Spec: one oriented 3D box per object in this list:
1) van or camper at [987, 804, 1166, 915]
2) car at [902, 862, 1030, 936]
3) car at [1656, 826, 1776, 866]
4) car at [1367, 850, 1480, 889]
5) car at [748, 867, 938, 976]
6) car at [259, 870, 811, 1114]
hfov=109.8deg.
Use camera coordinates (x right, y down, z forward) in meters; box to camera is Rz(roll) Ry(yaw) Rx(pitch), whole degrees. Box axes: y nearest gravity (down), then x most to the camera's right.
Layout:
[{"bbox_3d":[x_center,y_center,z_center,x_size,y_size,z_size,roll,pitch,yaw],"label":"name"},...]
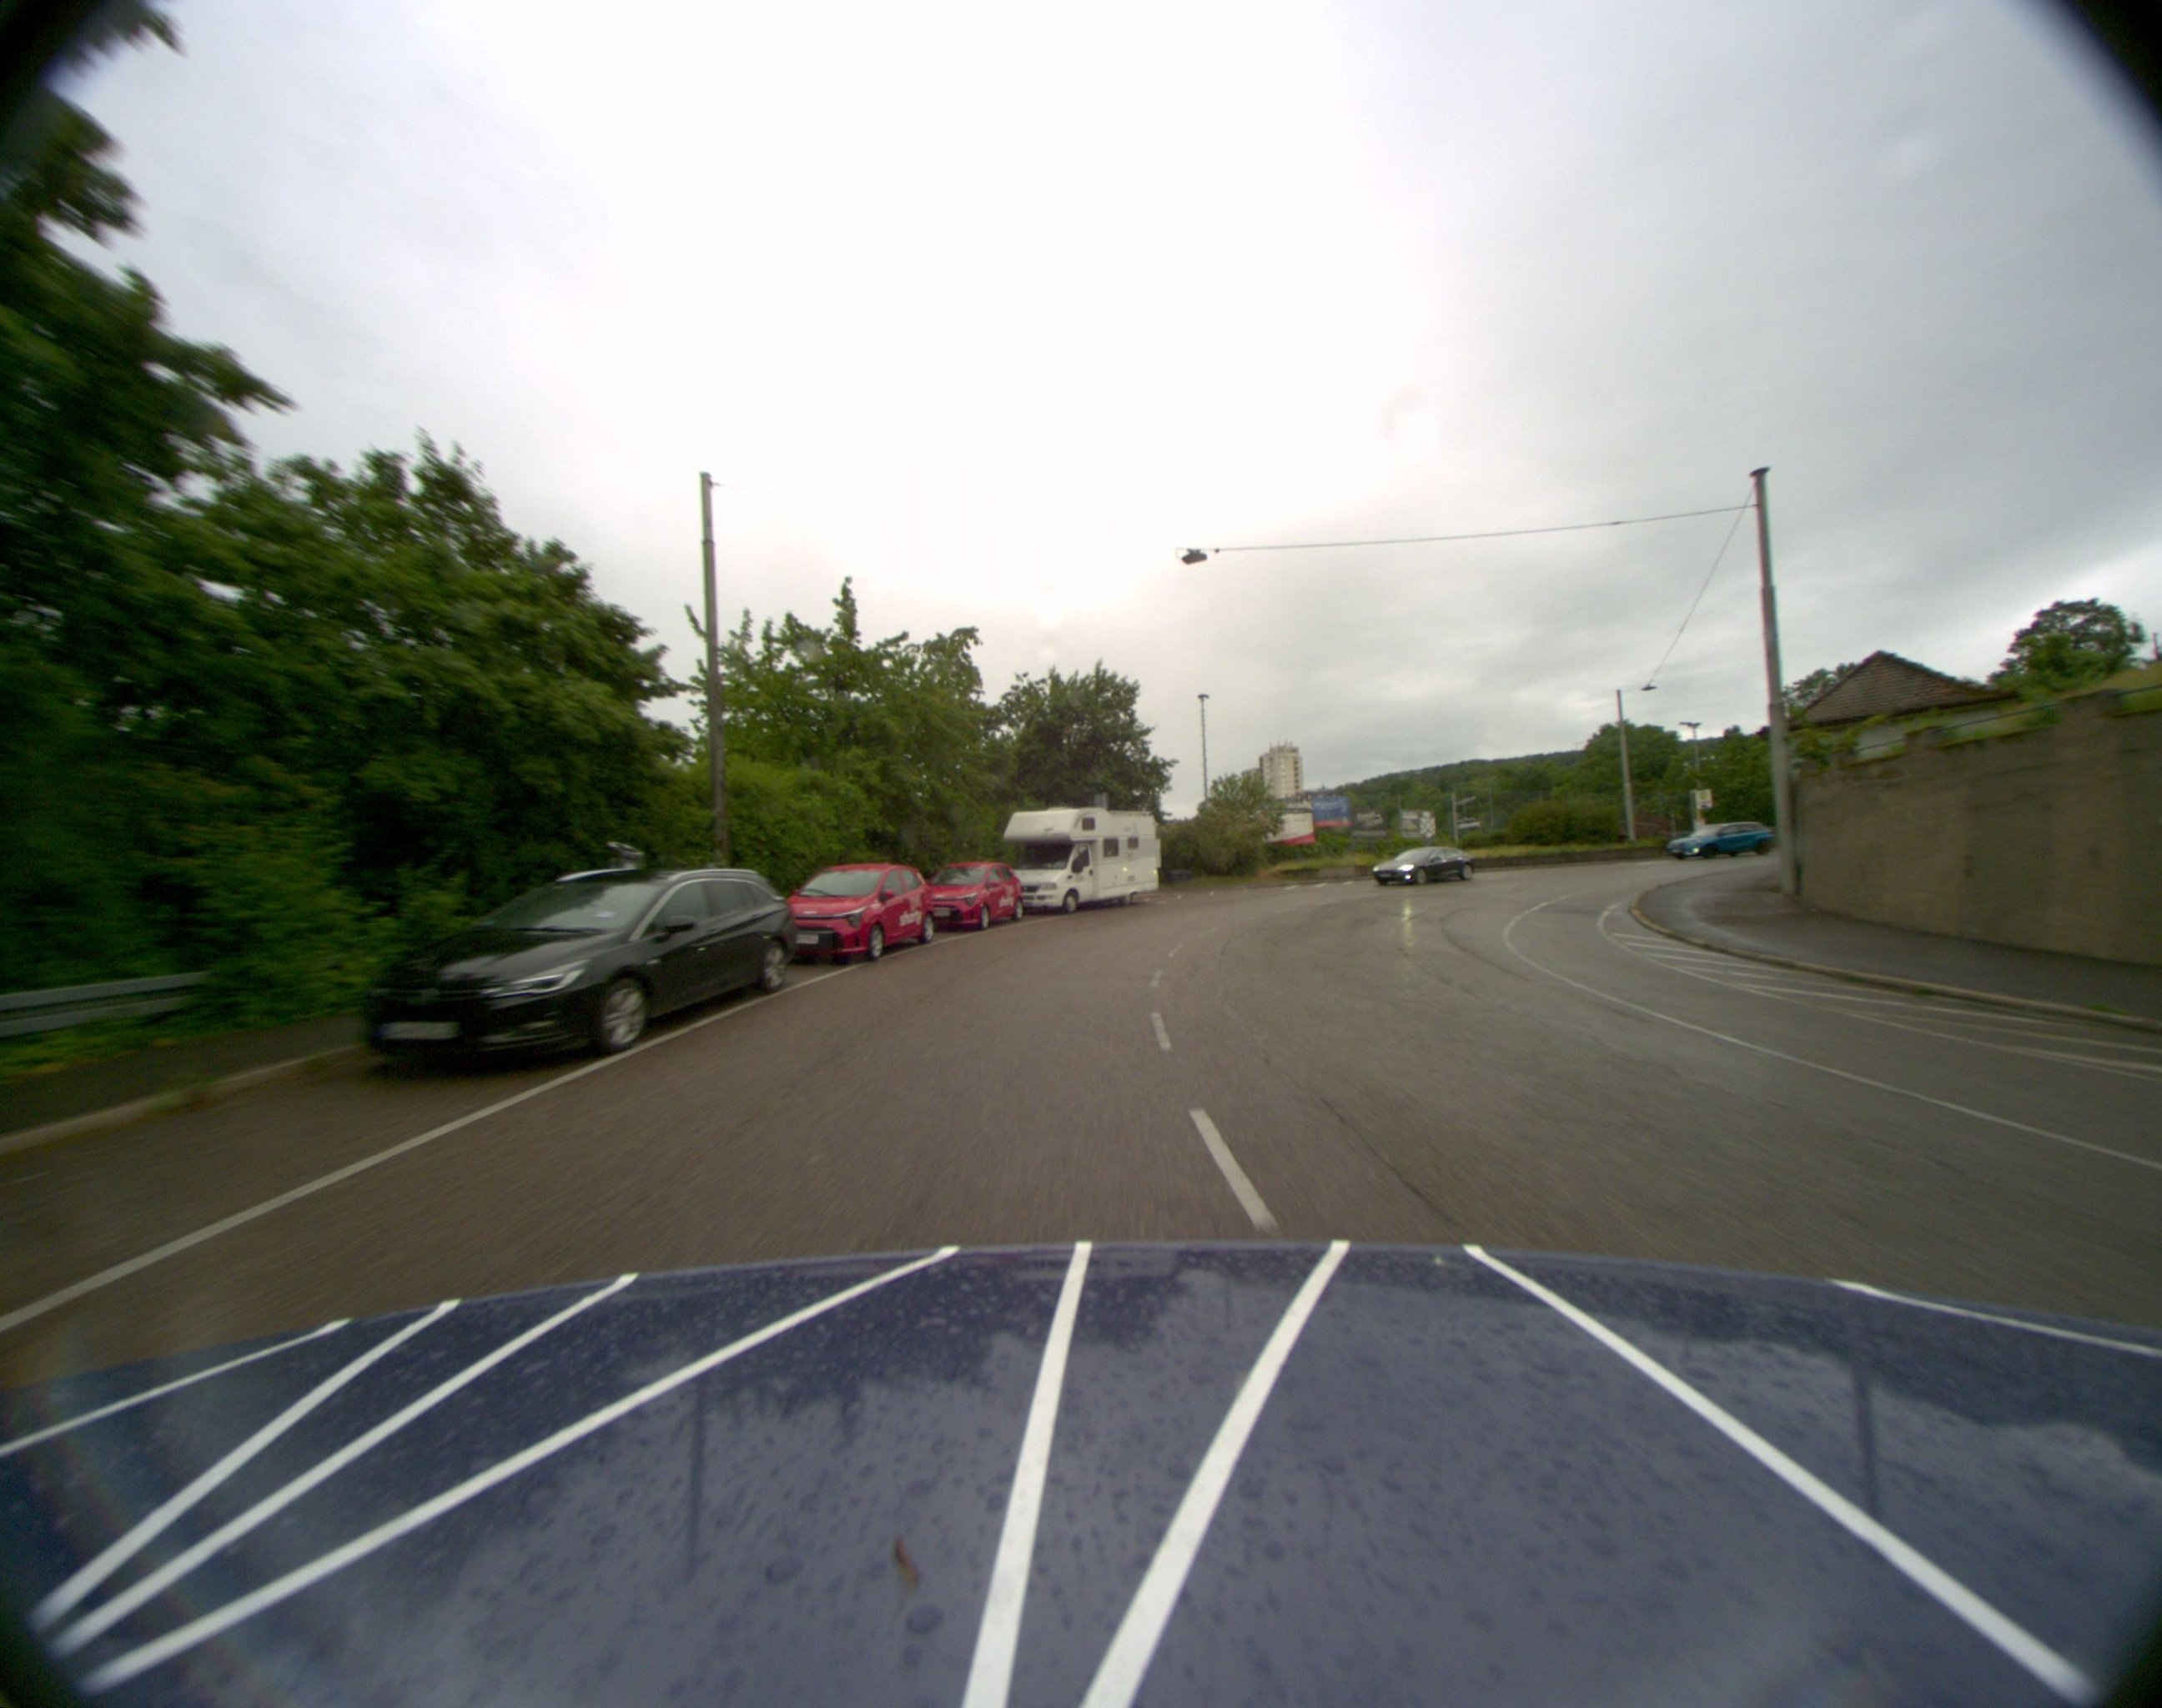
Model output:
[{"bbox_3d":[0.103,0.100,23.283,2.391,2.927,6.293,-1,1,32],"label":"van or camper"},{"bbox_3d":[-2.547,0.963,17.756,1.643,1.452,3.810,0,0,13],"label":"car"},{"bbox_3d":[29.511,-0.363,35.402,4.039,1.599,1.803,-2,-4,-2],"label":"car"},{"bbox_3d":[13.932,0.593,30.906,4.329,1.384,1.833,-2,0,-26],"label":"car"},{"bbox_3d":[-3.739,0.993,12.636,1.561,1.504,3.678,-1,0,8],"label":"car"},{"bbox_3d":[-4.438,0.966,7.309,1.722,1.504,4.597,-1,0,4],"label":"car"}]
